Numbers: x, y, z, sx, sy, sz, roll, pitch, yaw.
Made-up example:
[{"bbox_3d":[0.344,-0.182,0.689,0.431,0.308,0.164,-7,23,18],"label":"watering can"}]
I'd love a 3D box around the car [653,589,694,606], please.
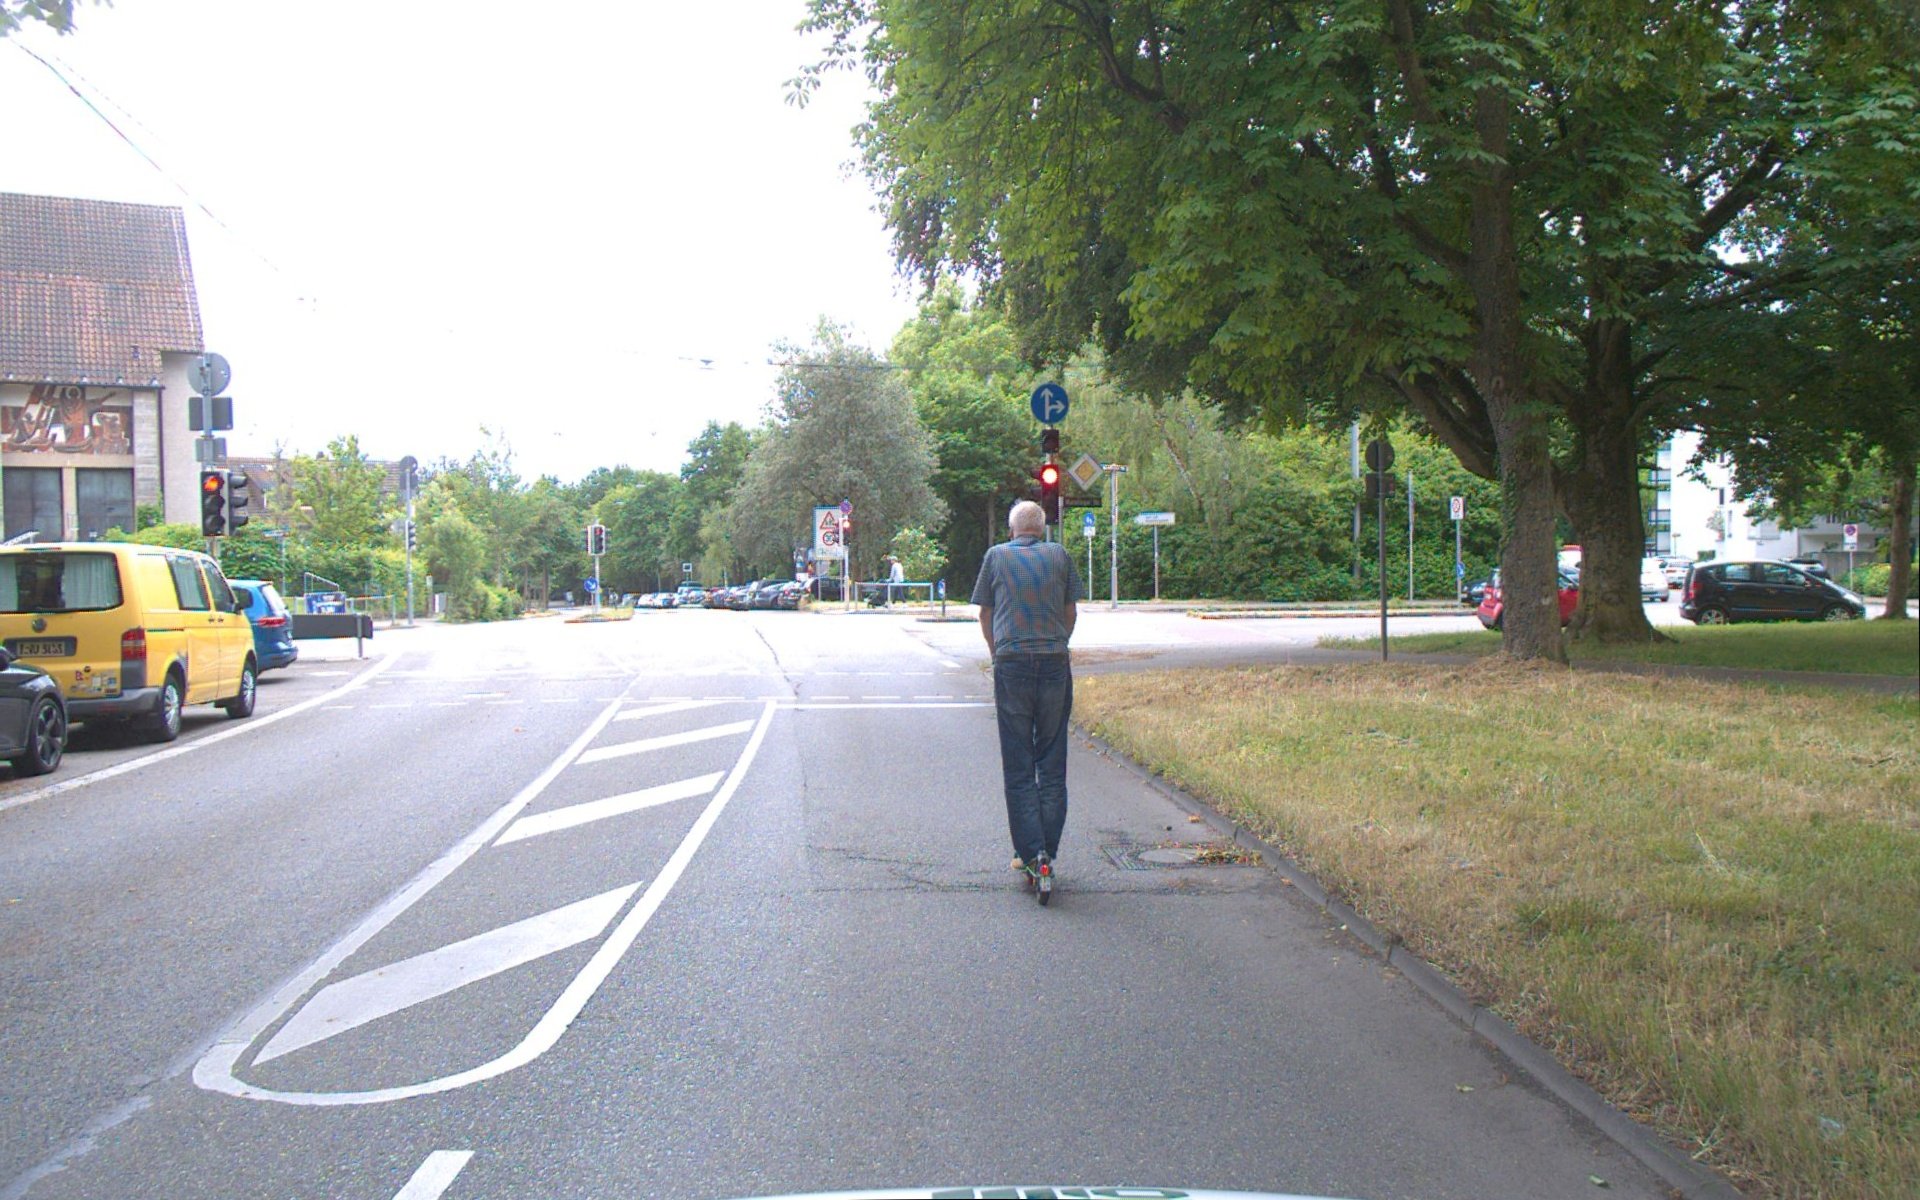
[{"bbox_3d":[-28.490,-0.292,164.526,3.911,1.536,1.797,-2,1,-7],"label":"car"}]

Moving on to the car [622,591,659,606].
[{"bbox_3d":[-35.924,-0.136,186.284,3.911,1.536,1.797,-2,1,-7],"label":"car"}]

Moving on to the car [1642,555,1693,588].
[{"bbox_3d":[35.651,-1.438,83.436,1.756,1.536,4.003,-1,0,15],"label":"car"}]

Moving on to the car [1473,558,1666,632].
[{"bbox_3d":[14.089,-0.143,38.439,3.902,1.584,1.802,0,4,8],"label":"car"}]

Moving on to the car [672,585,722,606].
[{"bbox_3d":[-21.367,-0.361,134.581,3.911,1.536,1.797,-2,1,-7],"label":"car"}]

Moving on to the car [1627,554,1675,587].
[{"bbox_3d":[36.822,-1.565,88.235,1.756,1.641,4.003,-1,0,15],"label":"car"}]

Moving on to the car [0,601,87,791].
[{"bbox_3d":[-8.205,0.780,12.019,1.759,1.440,4.185,-2,1,-5],"label":"car"}]

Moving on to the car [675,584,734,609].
[{"bbox_3d":[-17.607,-0.254,114.315,3.911,1.536,1.797,-2,1,-7],"label":"car"}]

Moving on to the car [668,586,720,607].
[{"bbox_3d":[-21.195,-0.312,131.870,3.911,1.536,1.797,-2,1,-7],"label":"car"}]

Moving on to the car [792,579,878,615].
[{"bbox_3d":[-5.881,-0.134,77.730,3.911,1.536,1.797,-2,1,-7],"label":"car"}]

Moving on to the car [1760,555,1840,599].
[{"bbox_3d":[31.226,-0.853,61.587,2.039,1.536,4.002,-1,0,18],"label":"car"}]

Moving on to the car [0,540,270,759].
[{"bbox_3d":[-8.916,0.427,17.619,1.823,1.998,4.495,-2,1,-9],"label":"car"}]

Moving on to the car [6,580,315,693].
[{"bbox_3d":[-12.299,0.521,25.683,3.914,1.536,1.796,-1,3,-10],"label":"car"}]

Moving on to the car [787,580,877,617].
[{"bbox_3d":[-5.739,-0.080,74.154,3.911,1.536,1.797,-2,1,-7],"label":"car"}]

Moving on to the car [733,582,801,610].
[{"bbox_3d":[-11.484,-0.231,98.405,3.911,1.536,1.797,-2,1,-7],"label":"car"}]

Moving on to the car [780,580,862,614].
[{"bbox_3d":[-6.859,-0.149,81.452,3.911,1.536,1.797,-2,1,-7],"label":"car"}]

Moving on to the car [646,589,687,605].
[{"bbox_3d":[-30.020,-0.324,169.234,3.911,1.536,1.797,-2,1,-7],"label":"car"}]

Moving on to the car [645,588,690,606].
[{"bbox_3d":[-27.058,-0.301,152.924,3.911,1.536,1.797,-2,1,-7],"label":"car"}]

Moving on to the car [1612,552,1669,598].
[{"bbox_3d":[24.275,-0.902,58.948,1.758,1.536,3.999,-1,0,24],"label":"car"}]

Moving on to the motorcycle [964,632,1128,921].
[{"bbox_3d":[0.385,0.792,7.976,0.659,1.239,1.273,0,1,-3],"label":"motorcycle"}]

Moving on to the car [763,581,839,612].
[{"bbox_3d":[-8.491,-0.201,88.254,3.911,1.536,1.797,-2,1,-7],"label":"car"}]

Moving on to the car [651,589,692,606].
[{"bbox_3d":[-29.058,-0.295,166.766,3.911,1.536,1.797,-2,1,-7],"label":"car"}]

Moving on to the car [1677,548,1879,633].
[{"bbox_3d":[18.367,-0.256,37.331,3.905,1.756,1.801,1,4,21],"label":"car"}]

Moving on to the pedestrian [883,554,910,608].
[{"bbox_3d":[-2.138,-0.638,55.691,0.716,1.792,0.662,-1,0,15],"label":"pedestrian"}]

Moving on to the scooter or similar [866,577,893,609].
[{"bbox_3d":[-2.737,-0.250,56.123,0.695,1.067,0.788,-1,0,15],"label":"scooter or similar"}]

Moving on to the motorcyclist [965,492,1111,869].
[{"bbox_3d":[0.374,0.380,8.197,0.659,1.792,0.638,0,0,-3],"label":"motorcyclist"}]

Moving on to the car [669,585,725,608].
[{"bbox_3d":[-19.182,-0.276,120.890,3.911,1.536,1.797,-2,1,-7],"label":"car"}]

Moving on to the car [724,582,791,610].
[{"bbox_3d":[-12.272,-0.252,100.279,3.911,1.536,1.797,-2,1,-7],"label":"car"}]

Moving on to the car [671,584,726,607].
[{"bbox_3d":[-19.657,-0.337,124.405,3.911,1.536,1.797,-2,1,-7],"label":"car"}]
